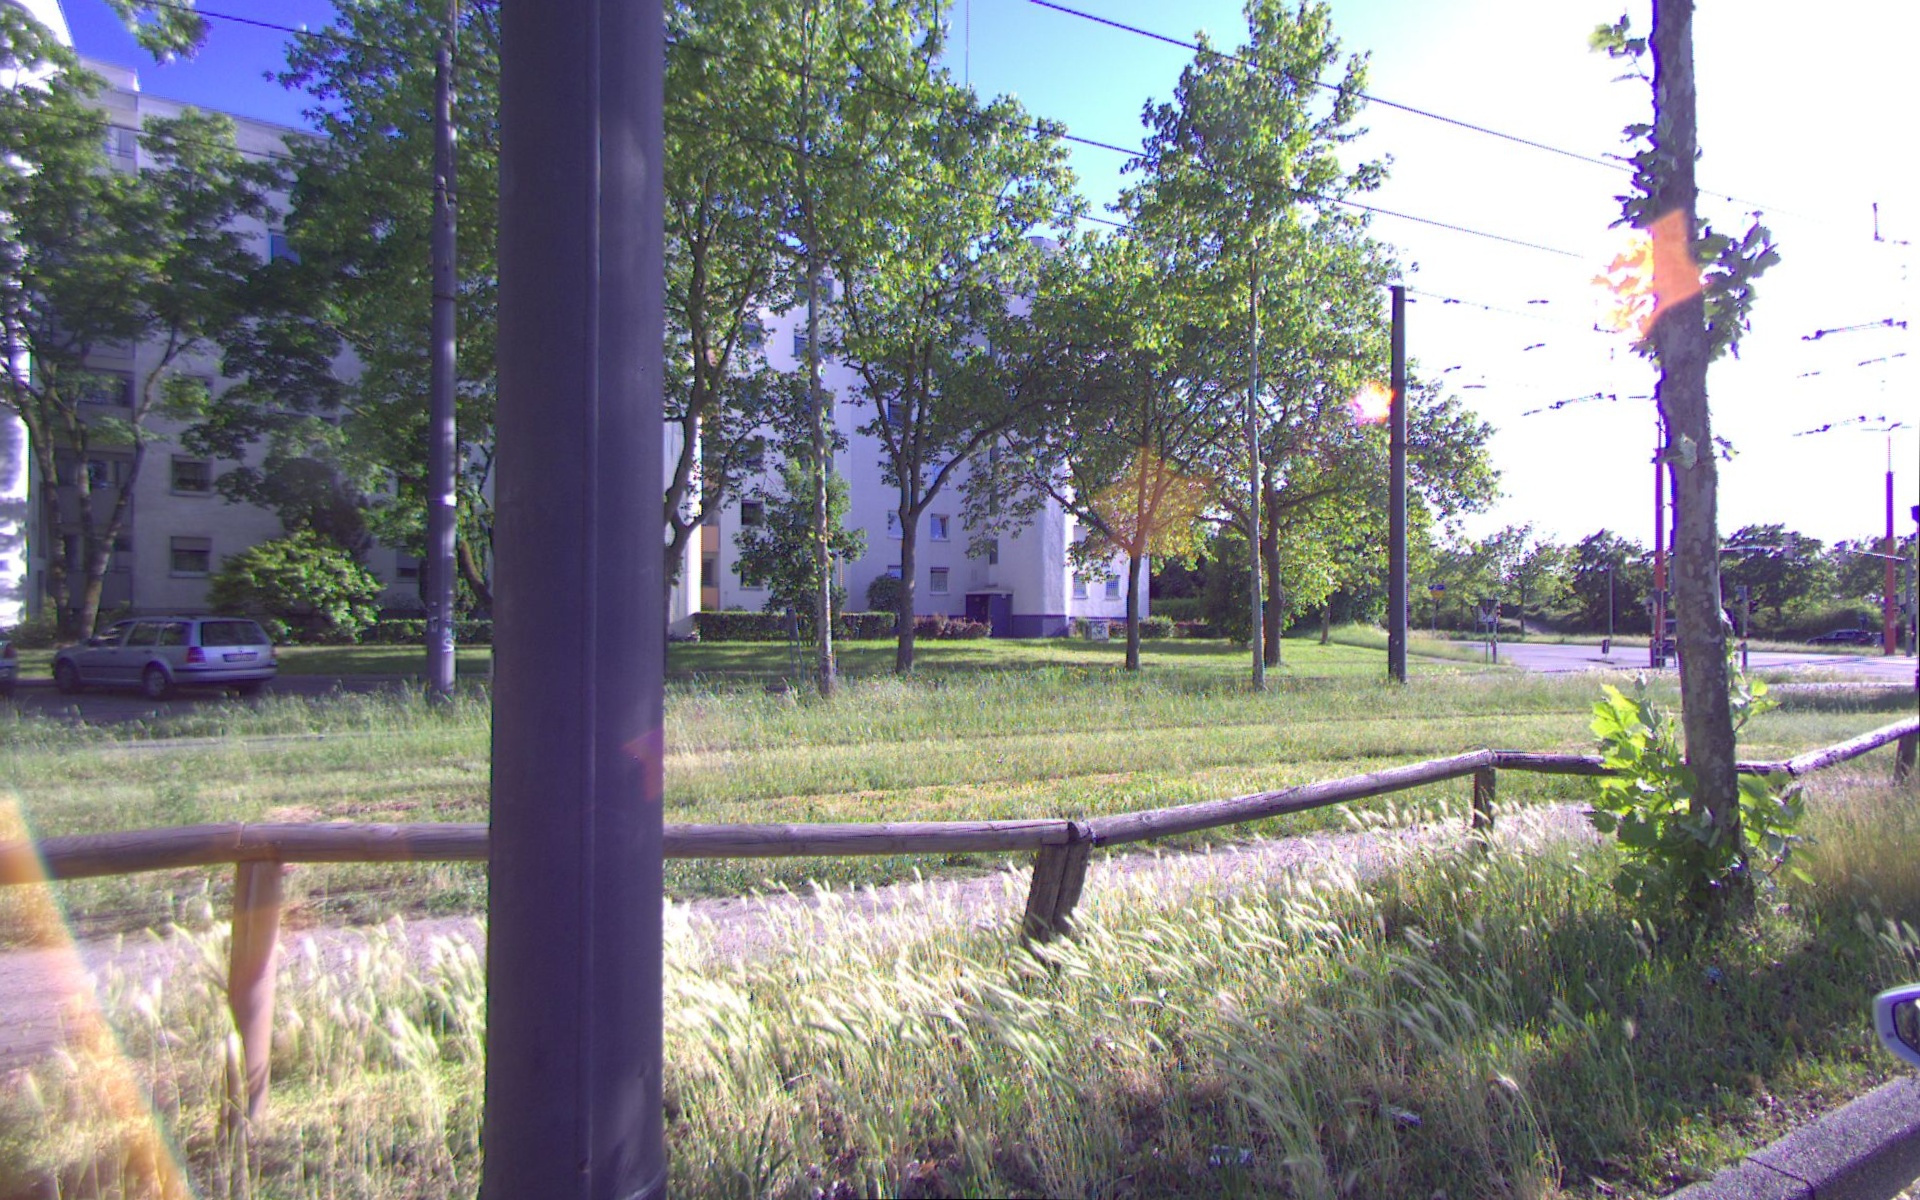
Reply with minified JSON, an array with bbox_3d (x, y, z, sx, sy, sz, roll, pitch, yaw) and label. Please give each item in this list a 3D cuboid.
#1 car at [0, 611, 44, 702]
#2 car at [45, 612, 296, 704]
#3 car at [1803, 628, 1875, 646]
[{"bbox_3d":[-18.045,0.942,17.245,3.969,1.506,1.764,0,0,20],"label":"car"},{"bbox_3d":[-14.563,0.997,18.559,3.969,1.506,1.815,0,0,20],"label":"car"},{"bbox_3d":[67.566,2.841,77.280,1.907,1.283,3.998,1,-1,-5],"label":"car"}]
